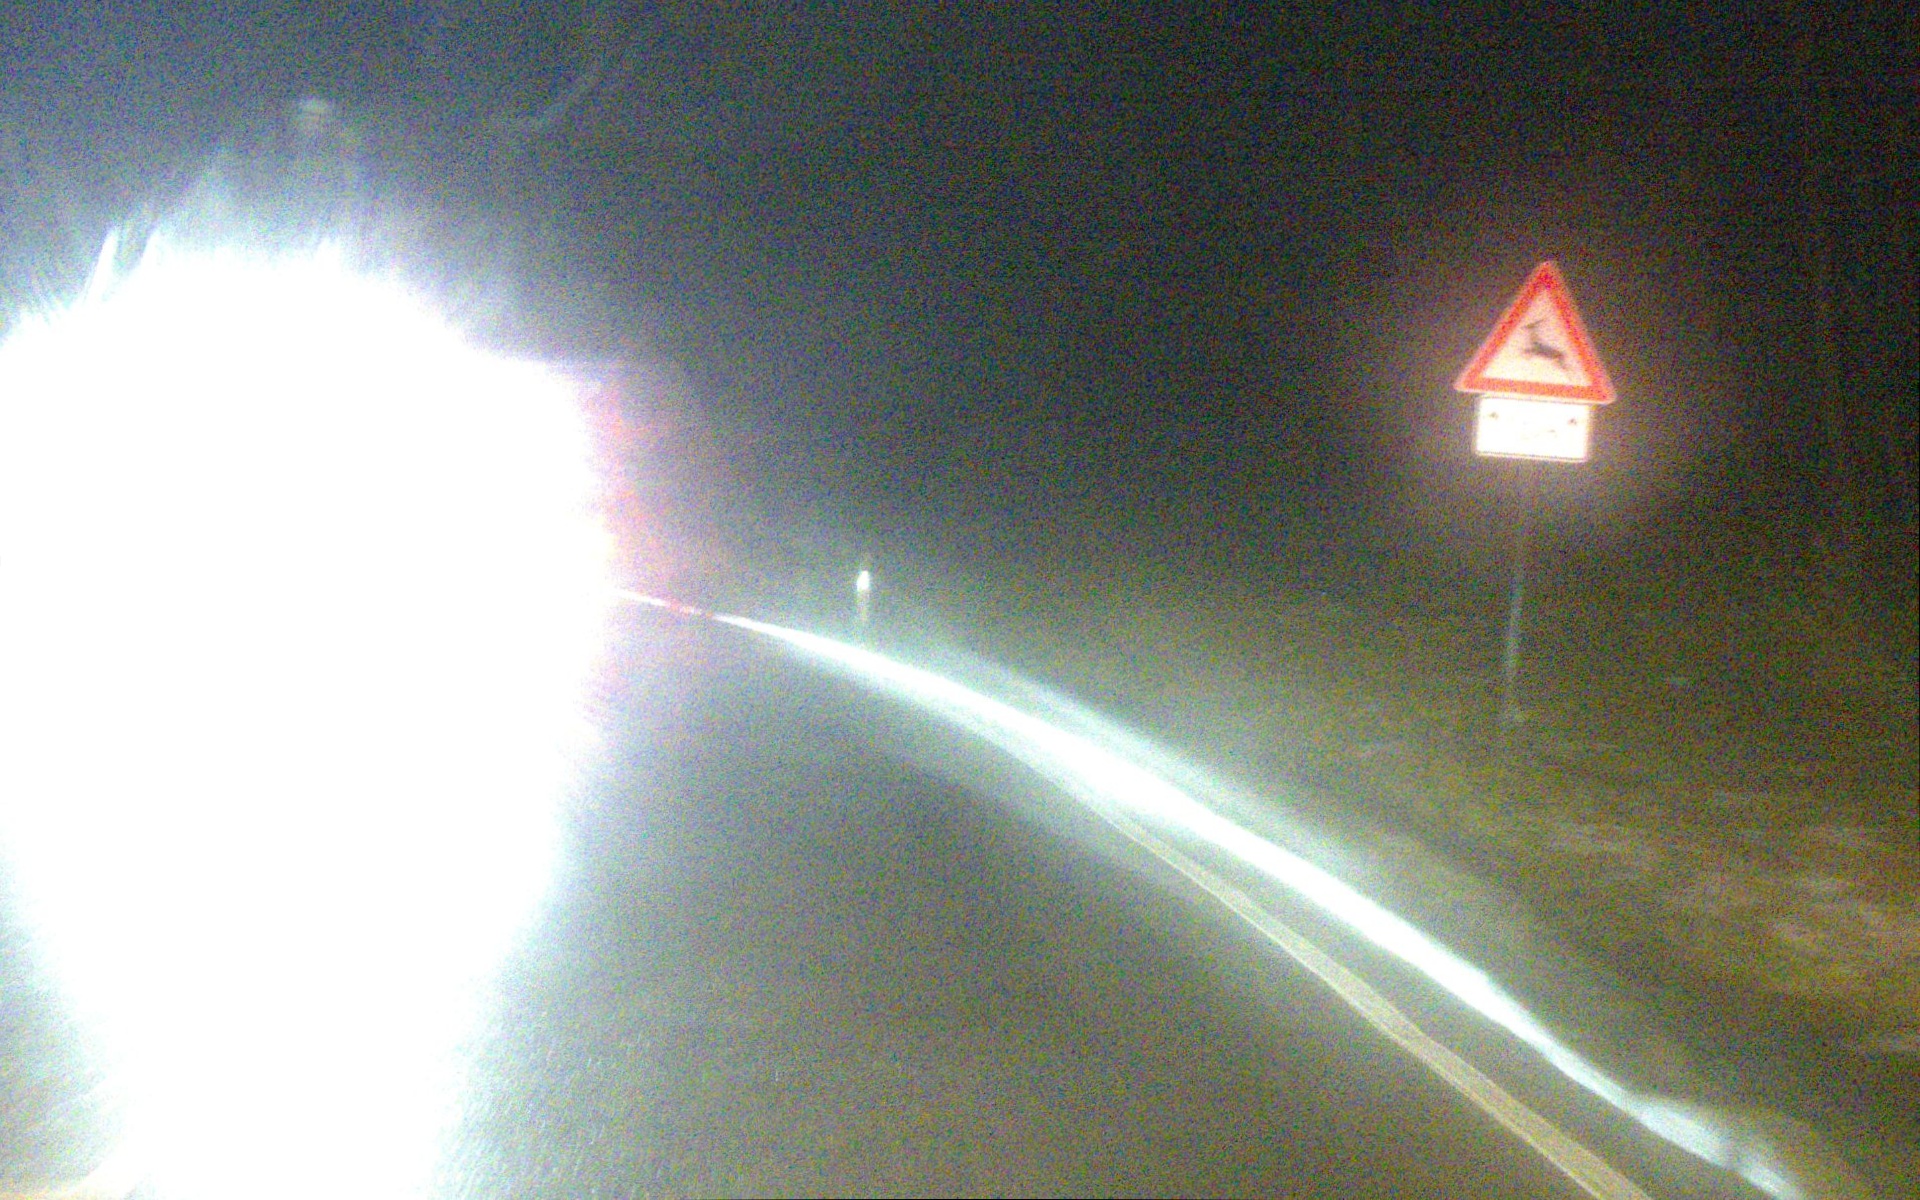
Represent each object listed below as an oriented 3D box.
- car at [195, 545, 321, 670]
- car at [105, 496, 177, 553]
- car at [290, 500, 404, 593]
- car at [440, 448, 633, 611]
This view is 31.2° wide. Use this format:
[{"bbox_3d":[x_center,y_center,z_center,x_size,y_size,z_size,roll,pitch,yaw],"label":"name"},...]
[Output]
[{"bbox_3d":[-12.166,0.140,59.766,1.993,2.007,4.846,2,-1,-11],"label":"car"},{"bbox_3d":[-22.690,-2.094,95.164,1.635,1.504,4.097,-1,2,-17],"label":"car"},{"bbox_3d":[-14.561,-1.242,81.541,1.993,2.007,4.001,2,-2,-19],"label":"car"},{"bbox_3d":[-6.899,-1.186,55.449,2.538,2.489,5.716,0,2,-12],"label":"car"}]
